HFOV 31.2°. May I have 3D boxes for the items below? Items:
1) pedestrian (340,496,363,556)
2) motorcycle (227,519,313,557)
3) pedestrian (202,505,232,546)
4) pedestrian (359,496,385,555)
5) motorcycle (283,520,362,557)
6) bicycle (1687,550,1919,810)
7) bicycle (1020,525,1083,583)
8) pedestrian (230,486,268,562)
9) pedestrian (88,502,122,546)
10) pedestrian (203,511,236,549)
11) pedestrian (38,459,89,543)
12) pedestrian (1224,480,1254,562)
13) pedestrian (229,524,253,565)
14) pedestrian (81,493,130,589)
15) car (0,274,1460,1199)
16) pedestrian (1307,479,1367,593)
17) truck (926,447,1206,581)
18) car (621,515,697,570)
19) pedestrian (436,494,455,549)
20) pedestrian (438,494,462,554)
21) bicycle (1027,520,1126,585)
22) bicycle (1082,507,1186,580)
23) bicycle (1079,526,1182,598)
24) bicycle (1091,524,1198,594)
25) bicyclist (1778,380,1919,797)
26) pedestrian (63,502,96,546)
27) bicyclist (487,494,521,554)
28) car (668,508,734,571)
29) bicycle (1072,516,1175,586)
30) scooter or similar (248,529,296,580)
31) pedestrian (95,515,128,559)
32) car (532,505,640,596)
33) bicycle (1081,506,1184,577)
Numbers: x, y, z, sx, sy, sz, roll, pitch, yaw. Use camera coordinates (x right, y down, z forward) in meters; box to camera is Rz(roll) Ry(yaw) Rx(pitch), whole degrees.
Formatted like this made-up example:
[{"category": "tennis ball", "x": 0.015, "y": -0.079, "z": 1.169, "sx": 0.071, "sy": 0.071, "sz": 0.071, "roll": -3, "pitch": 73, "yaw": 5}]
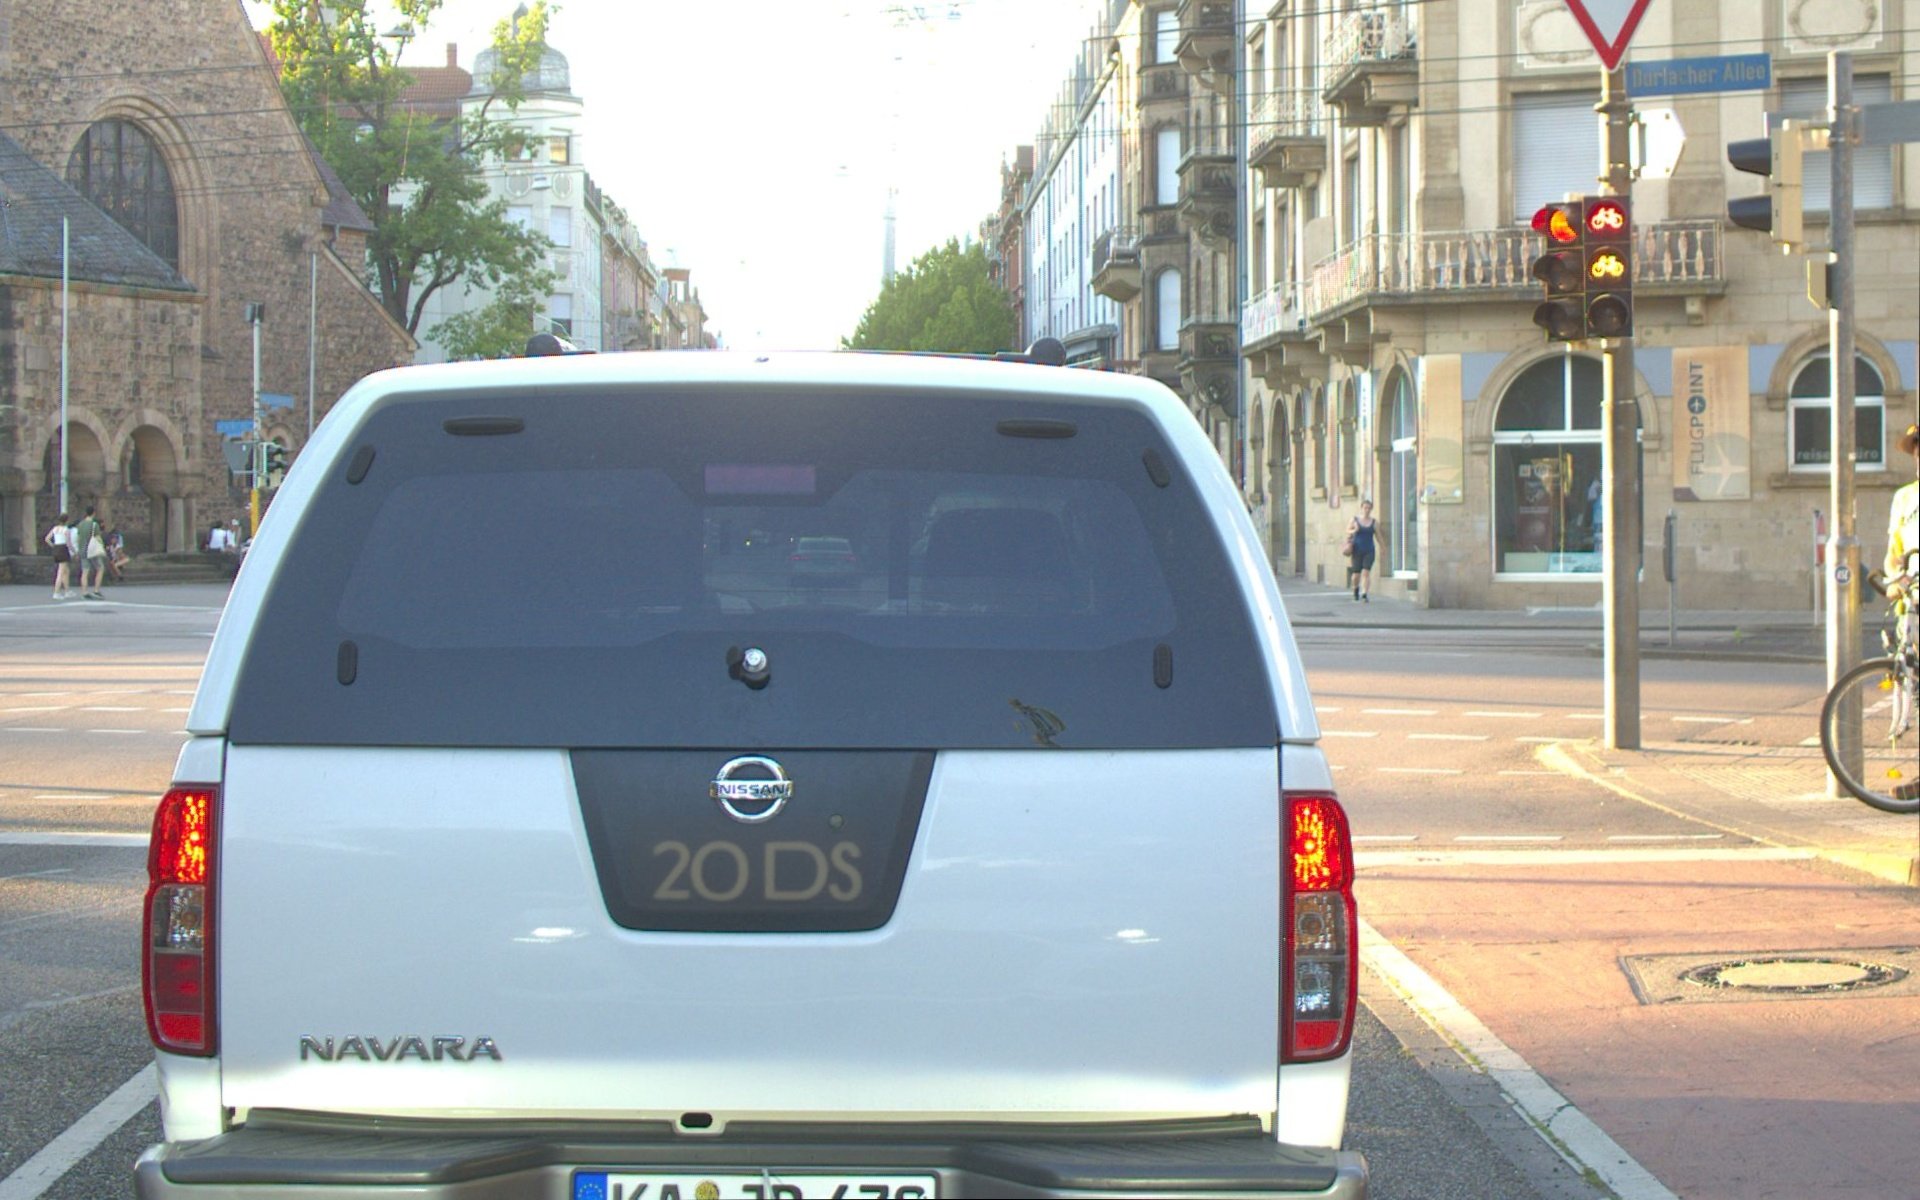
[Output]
[{"category": "pedestrian", "x": -17.273, "y": -2.086, "z": 97.582, "sx": 0.642, "sy": 1.689, "sz": 0.562, "roll": 0, "pitch": 1, "yaw": -9}, {"category": "motorcycle", "x": -18.794, "y": -1.688, "z": 93.678, "sx": 2.243, "sy": 0.984, "sz": 0.708, "roll": 1, "pitch": 1, "yaw": -6}, {"category": "pedestrian", "x": -17.367, "y": -1.735, "z": 80.357, "sx": 0.522, "sy": 0.957, "sz": 0.479, "roll": 1, "pitch": 1, "yaw": 17}, {"category": "pedestrian", "x": -17.064, "y": -2.164, "z": 99.774, "sx": 0.642, "sy": 1.689, "sz": 0.562, "roll": 1, "pitch": 1, "yaw": -1}, {"category": "motorcycle", "x": -17.797, "y": -1.719, "z": 95.968, "sx": 2.167, "sy": 0.984, "sz": 0.593, "roll": 1, "pitch": 1, "yaw": 19}, {"category": "bicycle", "x": 4.263, "y": 0.339, "z": 15.494, "sx": 2.065, "sy": 1.105, "sz": 0.628, "roll": 0, "pitch": 1, "yaw": -33}, {"category": "bicycle", "x": 1.694, "y": -0.850, "z": 63.542, "sx": 1.076, "sy": 1.021, "sz": 0.317, "roll": -3, "pitch": 1, "yaw": -2}, {"category": "pedestrian", "x": -16.070, "y": -1.718, "z": 77.682, "sx": 0.634, "sy": 1.692, "sz": 0.602, "roll": 1, "pitch": 2, "yaw": 16}, {"category": "pedestrian", "x": -18.567, "y": -1.645, "z": 74.647, "sx": 0.522, "sy": 0.957, "sz": 0.479, "roll": 1, "pitch": 1, "yaw": 19}, {"category": "pedestrian", "x": -19.040, "y": -1.799, "z": 88.406, "sx": 0.552, "sy": 0.957, "sz": 0.709, "roll": 1, "pitch": 1, "yaw": 20}, {"category": "pedestrian", "x": -17.894, "y": -1.976, "z": 68.634, "sx": 0.812, "sy": 1.664, "sz": 0.860, "roll": 1, "pitch": 1, "yaw": -3}, {"category": "pedestrian", "x": 5.639, "y": -1.592, "z": 69.548, "sx": 0.527, "sy": 1.648, "sz": 0.547, "roll": 1, "pitch": 1, "yaw": -1}, {"category": "pedestrian", "x": -16.817, "y": -1.300, "z": 80.393, "sx": 0.521, "sy": 0.957, "sz": 0.479, "roll": 0, "pitch": 1, "yaw": -16}, {"category": "pedestrian", "x": -17.038, "y": -1.176, "z": 68.577, "sx": 0.812, "sy": 1.894, "sz": 0.666, "roll": 1, "pitch": 1, "yaw": -3}, {"category": "car", "x": -0.351, "y": 0.437, "z": 6.682, "sx": 1.993, "sy": 1.803, "sz": 4.000, "roll": 1, "pitch": 1, "yaw": -1}, {"category": "pedestrian", "x": 5.913, "y": -1.004, "z": 53.868, "sx": 0.788, "sy": 1.773, "sz": 0.543, "roll": 1, "pitch": 1, "yaw": 25}, {"category": "truck", "x": 2.163, "y": -1.708, "z": 68.738, "sx": 5.658, "sy": 2.556, "sz": 2.286, "roll": -1, "pitch": 2, "yaw": -44}, {"category": "car", "x": -8.921, "y": -1.704, "z": 102.205, "sx": 1.993, "sy": 1.552, "sz": 4.769, "roll": 1, "pitch": 1, "yaw": -2}, {"category": "pedestrian", "x": -15.945, "y": -2.438, "z": 106.613, "sx": 0.560, "sy": 1.689, "sz": 0.645, "roll": 0, "pitch": 1, "yaw": -8}, {"category": "pedestrian", "x": -15.685, "y": -2.337, "z": 105.776, "sx": 0.642, "sy": 1.849, "sz": 0.562, "roll": 0, "pitch": 1, "yaw": -15}, {"category": "bicycle", "x": 2.129, "y": -0.874, "z": 62.658, "sx": 1.726, "sy": 1.079, "sz": 0.317, "roll": -3, "pitch": 1, "yaw": -2}, {"category": "bicycle", "x": 3.192, "y": -1.041, "z": 63.131, "sx": 1.817, "sy": 1.233, "sz": 0.488, "roll": -3, "pitch": 1, "yaw": -2}, {"category": "bicycle", "x": 3.165, "y": -0.710, "z": 63.848, "sx": 1.817, "sy": 1.233, "sz": 0.478, "roll": -3, "pitch": 1, "yaw": -2}, {"category": "bicycle", "x": 3.341, "y": -0.748, "z": 62.196, "sx": 1.817, "sy": 1.146, "sz": 0.636, "roll": -3, "pitch": 1, "yaw": -2}, {"category": "bicyclist", "x": 4.163, "y": -0.056, "z": 15.428, "sx": 0.696, "sy": 1.818, "sz": 0.628, "roll": 0, "pitch": 1, "yaw": -33}, {"category": "pedestrian", "x": -19.194, "y": -1.656, "z": 74.922, "sx": 0.522, "sy": 0.957, "sz": 0.479, "roll": 1, "pitch": 1, "yaw": 19}, {"category": "bicyclist", "x": -12.513, "y": -2.084, "z": 94.388, "sx": 0.599, "sy": 1.639, "sz": 0.963, "roll": 0, "pitch": 1, "yaw": -30}, {"category": "car", "x": -8.714, "y": -2.052, "z": 115.932, "sx": 1.993, "sy": 2.006, "sz": 4.951, "roll": -1, "pitch": 2, "yaw": -2}, {"category": "bicycle", "x": 3.118, "y": -0.941, "z": 65.707, "sx": 1.855, "sy": 1.233, "sz": 0.531, "roll": -3, "pitch": 1, "yaw": -2}, {"category": "scooter or similar", "x": -15.445, "y": -1.025, "z": 77.158, "sx": 0.634, "sy": 1.099, "sz": 1.078, "roll": 1, "pitch": 3, "yaw": 15}, {"category": "pedestrian", "x": -18.710, "y": -1.393, "z": 75.823, "sx": 0.478, "sy": 0.957, "sz": 0.522, "roll": 1, "pitch": 1, "yaw": 29}, {"category": "car", "x": -8.035, "y": -1.103, "z": 74.206, "sx": 1.993, "sy": 1.778, "sz": 4.799, "roll": -1, "pitch": 3, "yaw": -2}, {"category": "bicycle", "x": 3.237, "y": -1.096, "z": 64.568, "sx": 1.817, "sy": 1.233, "sz": 0.412, "roll": -3, "pitch": 1, "yaw": -2}]
